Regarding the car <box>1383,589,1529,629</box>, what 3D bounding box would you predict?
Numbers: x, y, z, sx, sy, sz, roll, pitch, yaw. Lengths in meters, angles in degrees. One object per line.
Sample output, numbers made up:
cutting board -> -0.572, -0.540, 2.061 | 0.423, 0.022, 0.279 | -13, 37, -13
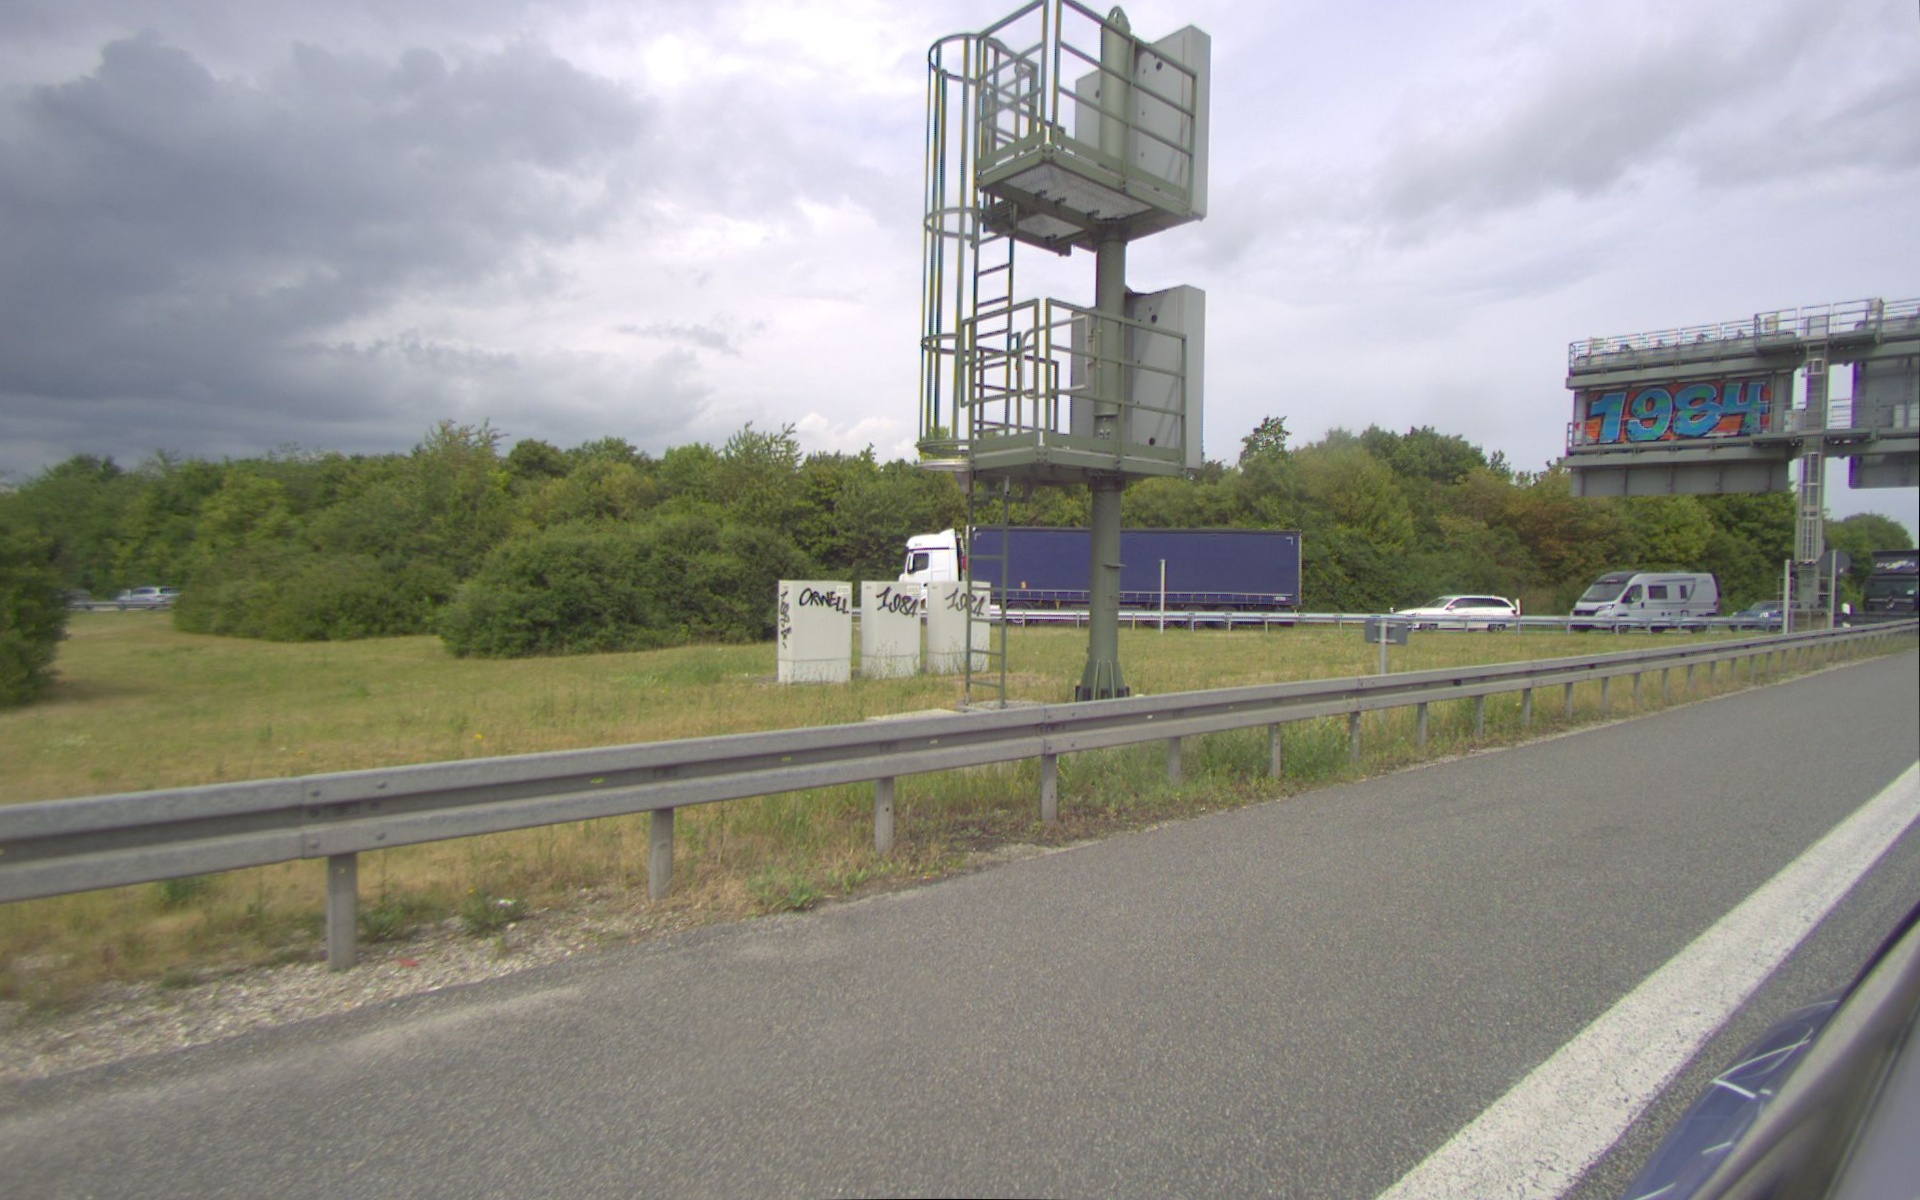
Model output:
car -> 19.565, 0.345, 40.079 | 4.692, 1.520, 2.216 | 0, 1, -5

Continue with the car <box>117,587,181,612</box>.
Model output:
car -> -51.769, -0.028, 64.592 | 3.956, 1.552, 1.558 | 0, 0, 24

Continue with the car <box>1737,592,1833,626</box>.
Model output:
car -> 36.052, 0.361, 44.224 | 3.589, 1.437, 1.738 | -1, 0, -22

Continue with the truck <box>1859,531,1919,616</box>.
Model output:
truck -> 48.969, -1.263, 50.552 | 10.133, 4.004, 3.030 | 0, 0, -30

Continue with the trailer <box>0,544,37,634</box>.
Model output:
trailer -> -71.236, -0.737, 70.880 | 11.918, 6.165, 4.000 | 0, 0, 15

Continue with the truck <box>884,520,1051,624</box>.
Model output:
truck -> 0.339, -1.131, 42.248 | 6.664, 4.147, 3.369 | 0, 0, 2

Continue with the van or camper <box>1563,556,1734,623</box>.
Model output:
van or camper -> 28.109, -0.412, 41.366 | 6.031, 2.600, 2.306 | 0, 1, -14

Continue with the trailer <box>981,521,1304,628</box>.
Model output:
trailer -> 7.273, -1.046, 41.964 | 12.792, 4.246, 3.339 | 0, 0, 3

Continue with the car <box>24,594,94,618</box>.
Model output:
car -> -60.107, 0.401, 67.547 | 3.948, 1.505, 1.823 | 0, 0, 19
